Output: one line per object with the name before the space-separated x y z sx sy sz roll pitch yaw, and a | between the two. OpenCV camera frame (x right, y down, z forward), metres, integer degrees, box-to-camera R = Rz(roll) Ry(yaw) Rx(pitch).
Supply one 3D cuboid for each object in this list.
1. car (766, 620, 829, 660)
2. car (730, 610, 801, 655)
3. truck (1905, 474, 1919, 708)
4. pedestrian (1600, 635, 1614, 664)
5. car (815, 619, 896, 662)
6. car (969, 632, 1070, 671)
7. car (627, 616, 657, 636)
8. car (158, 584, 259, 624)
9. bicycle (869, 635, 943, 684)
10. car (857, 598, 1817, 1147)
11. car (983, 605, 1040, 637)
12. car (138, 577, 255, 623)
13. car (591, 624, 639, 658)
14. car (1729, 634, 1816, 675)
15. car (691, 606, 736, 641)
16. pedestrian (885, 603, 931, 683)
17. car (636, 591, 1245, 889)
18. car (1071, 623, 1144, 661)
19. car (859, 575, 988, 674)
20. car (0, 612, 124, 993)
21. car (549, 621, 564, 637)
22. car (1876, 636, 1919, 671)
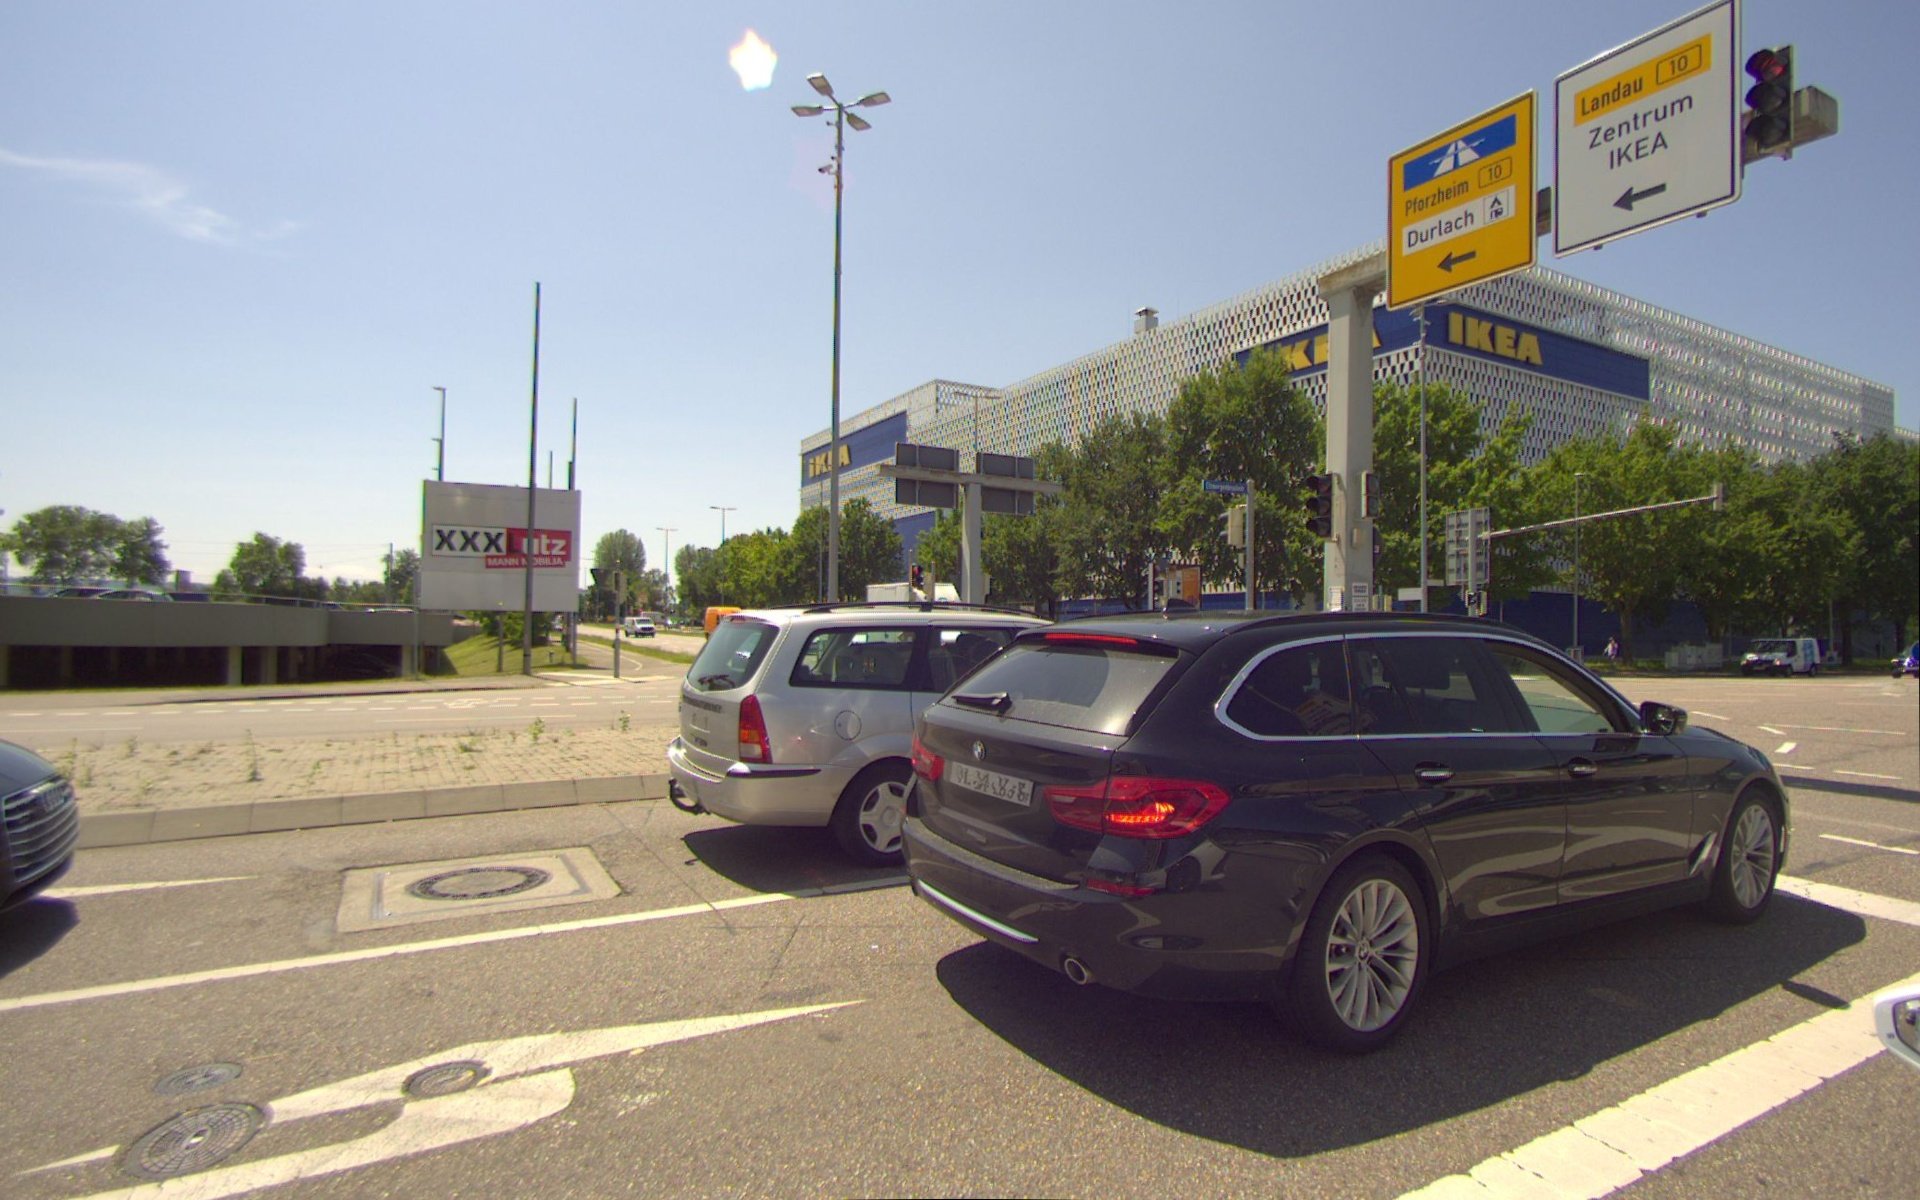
car | -8.803 2.134 54.242 1.975 2.040 4.681 2 -2 -28
car | -11.952 1.989 61.323 2.542 2.568 6.586 2 -2 -26
truck | 20.249 -0.194 13.620 3.055 4.136 10.600 2 -1 -21
pedestrian | 33.483 2.557 51.983 0.477 1.502 0.460 2 -2 -26
car | -4.898 1.846 46.303 1.974 1.835 5.437 1 -2 -26
car | 2.181 1.912 38.051 1.756 1.360 4.261 0 -2 -31
car | -31.815 2.613 100.427 1.975 1.930 4.777 1 -1 -28
car | -38.423 0.234 51.504 3.957 1.933 1.982 2 -2 -33
bicycle | -1.437 1.534 26.407 0.987 1.229 2.079 1 -2 -35
car | 1.973 0.780 4.697 4.571 1.485 1.790 1 -1 -32
car | 3.335 1.353 65.720 1.974 2.040 3.973 1 -1 -27
car | -34.376 0.055 45.375 3.954 1.957 1.984 2 -2 -31
car | -21.410 2.547 62.249 1.816 2.040 3.962 2 -2 -34
car | 42.418 2.821 52.421 4.708 2.034 1.985 2 -2 -30
car | -17.365 1.669 70.620 1.973 2.318 5.847 1 -2 -25
pedestrian | -1.373 1.118 26.345 0.856 2.040 0.898 1 -2 -36
car | 0.002 0.759 7.015 3.962 1.514 1.785 2 -1 -36
car | 6.976 1.960 47.814 1.689 1.673 4.191 1 -1 -19
car | -1.594 0.930 39.183 2.156 3.532 6.874 -1 -1 -29
car | -5.889 0.738 3.349 4.477 1.409 1.741 1 -1 -29
car | -51.777 3.691 128.967 1.595 2.040 3.862 1 -1 -20
car | 46.370 2.590 48.598 4.445 1.619 1.866 2 -3 -31
